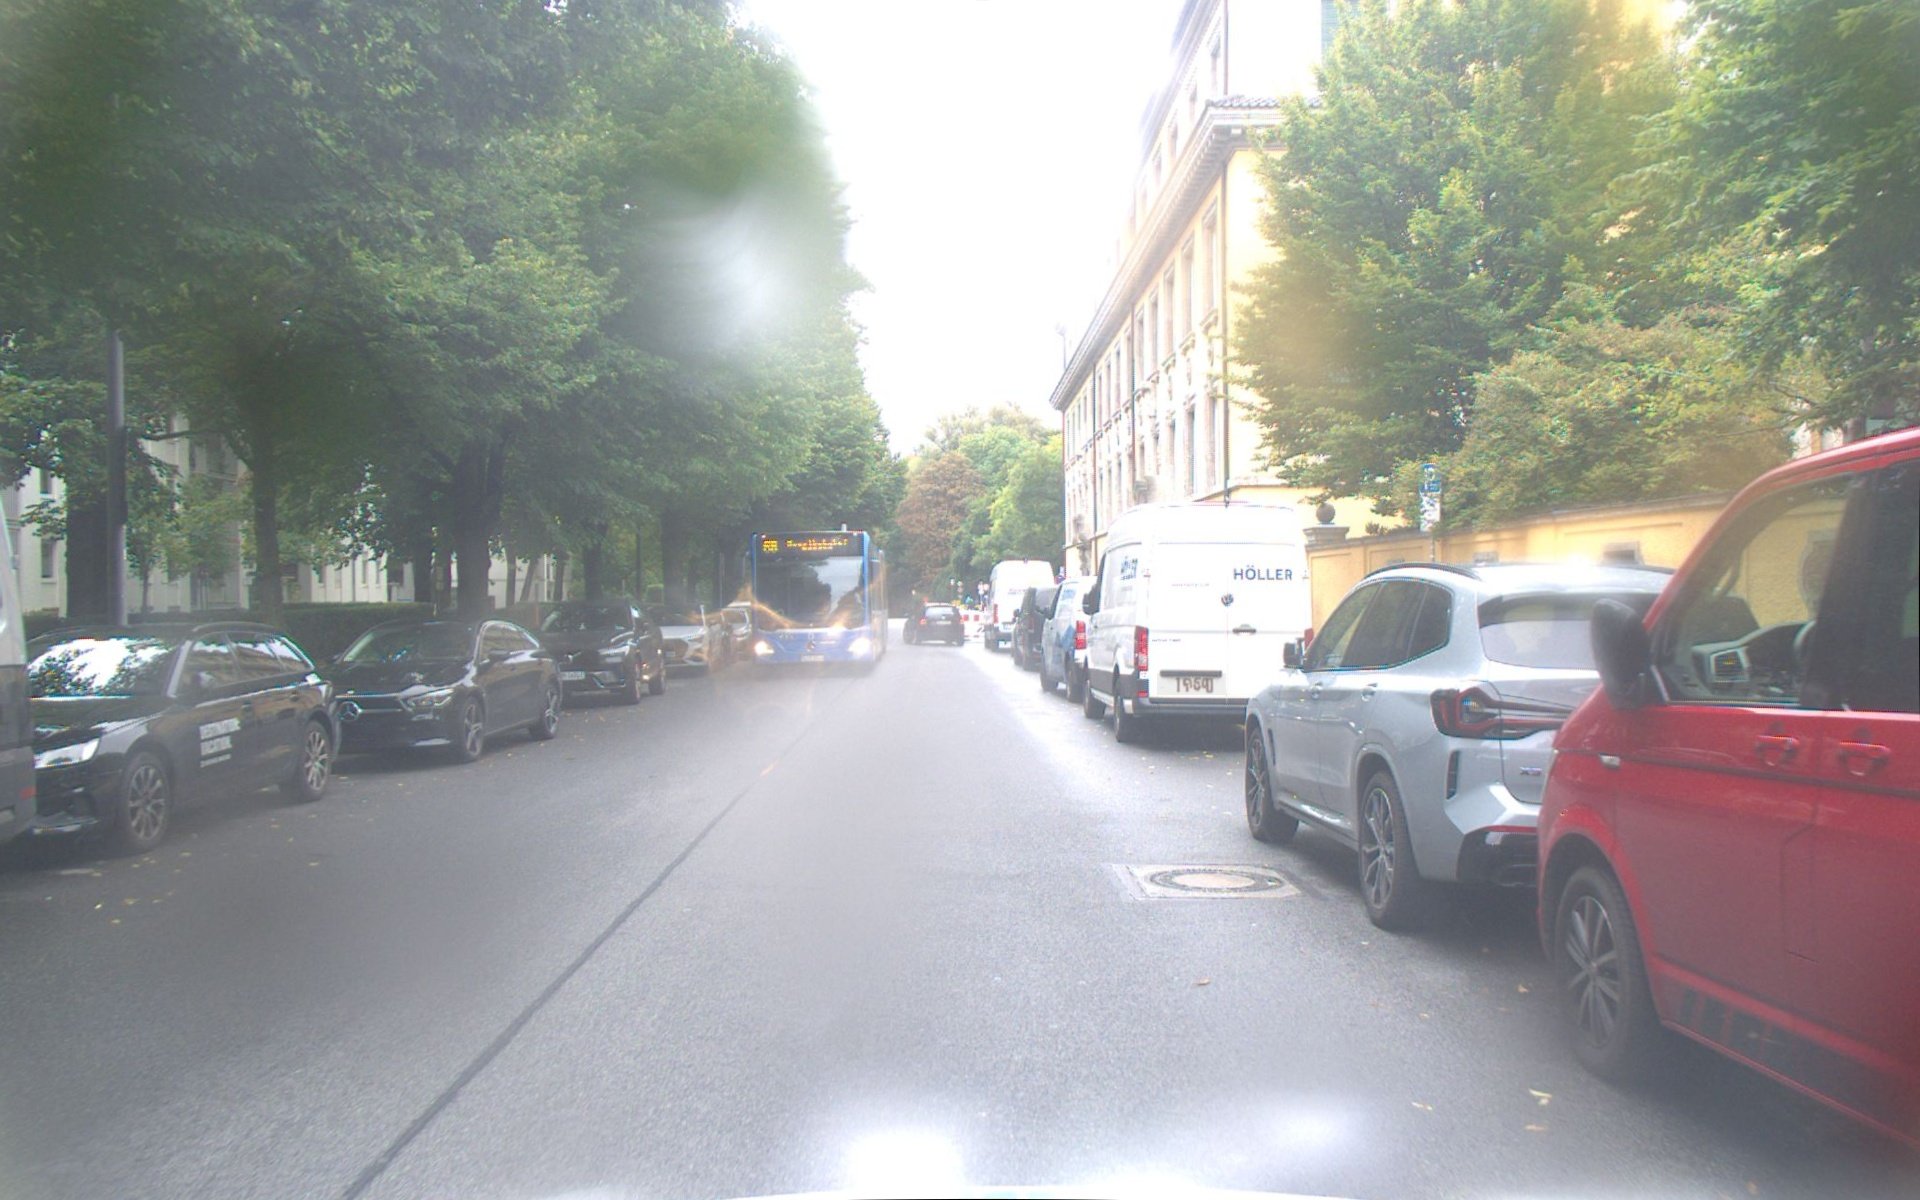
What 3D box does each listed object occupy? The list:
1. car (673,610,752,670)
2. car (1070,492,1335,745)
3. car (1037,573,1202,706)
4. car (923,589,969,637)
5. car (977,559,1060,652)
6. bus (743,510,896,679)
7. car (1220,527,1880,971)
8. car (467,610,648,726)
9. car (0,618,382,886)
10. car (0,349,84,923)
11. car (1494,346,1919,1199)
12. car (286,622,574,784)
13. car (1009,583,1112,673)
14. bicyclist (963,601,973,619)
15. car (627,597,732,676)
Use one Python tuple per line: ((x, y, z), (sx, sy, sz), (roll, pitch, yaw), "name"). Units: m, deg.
((-6.521, 1.033, 43.881), (1.638, 1.495, 4.101), (-1, -1, -3), "car")
((2.647, 0.231, 19.629), (2.053, 2.531, 5.737), (-1, -1, -2), "car")
((2.459, 0.588, 26.742), (1.973, 1.940, 5.161), (0, 0, -2), "car")
((-0.499, 0.449, 58.483), (1.545, 1.611, 4.044), (-1, 0, 0), "car")
((1.760, 0.194, 52.365), (2.013, 2.720, 7.610), (-1, -1, -3), "car")
((-3.138, 0.059, 42.025), (2.802, 3.296, 18.418), (-1, -1, -2), "bus")
((2.737, 0.608, 8.935), (1.821, 1.772, 4.601), (0, 0, -2), "car")
((-5.662, 0.904, 23.731), (1.754, 1.479, 3.947), (-1, 0, -2), "car")
((-5.874, 0.932, 11.985), (1.753, 1.463, 4.578), (-1, 1, 0), "car")
((-5.781, 0.151, 6.032), (1.905, 2.904, 6.234), (-1, -1, -1), "car")
((3.014, 0.432, 3.445), (1.821, 2.002, 5.442), (-1, -1, -2), "car")
((-5.449, 0.995, 17.631), (1.754, 1.463, 4.548), (-1, -1, -2), "car")
((2.228, 0.617, 37.921), (1.833, 1.902, 4.984), (-1, -1, -3), "car")
((0.697, 0.818, 136.866), (0.668, 1.530, 0.899), (-1, 0, -9), "bicyclist")
((-6.265, 0.793, 37.363), (1.748, 1.625, 4.582), (-1, -1, -3), "car")
